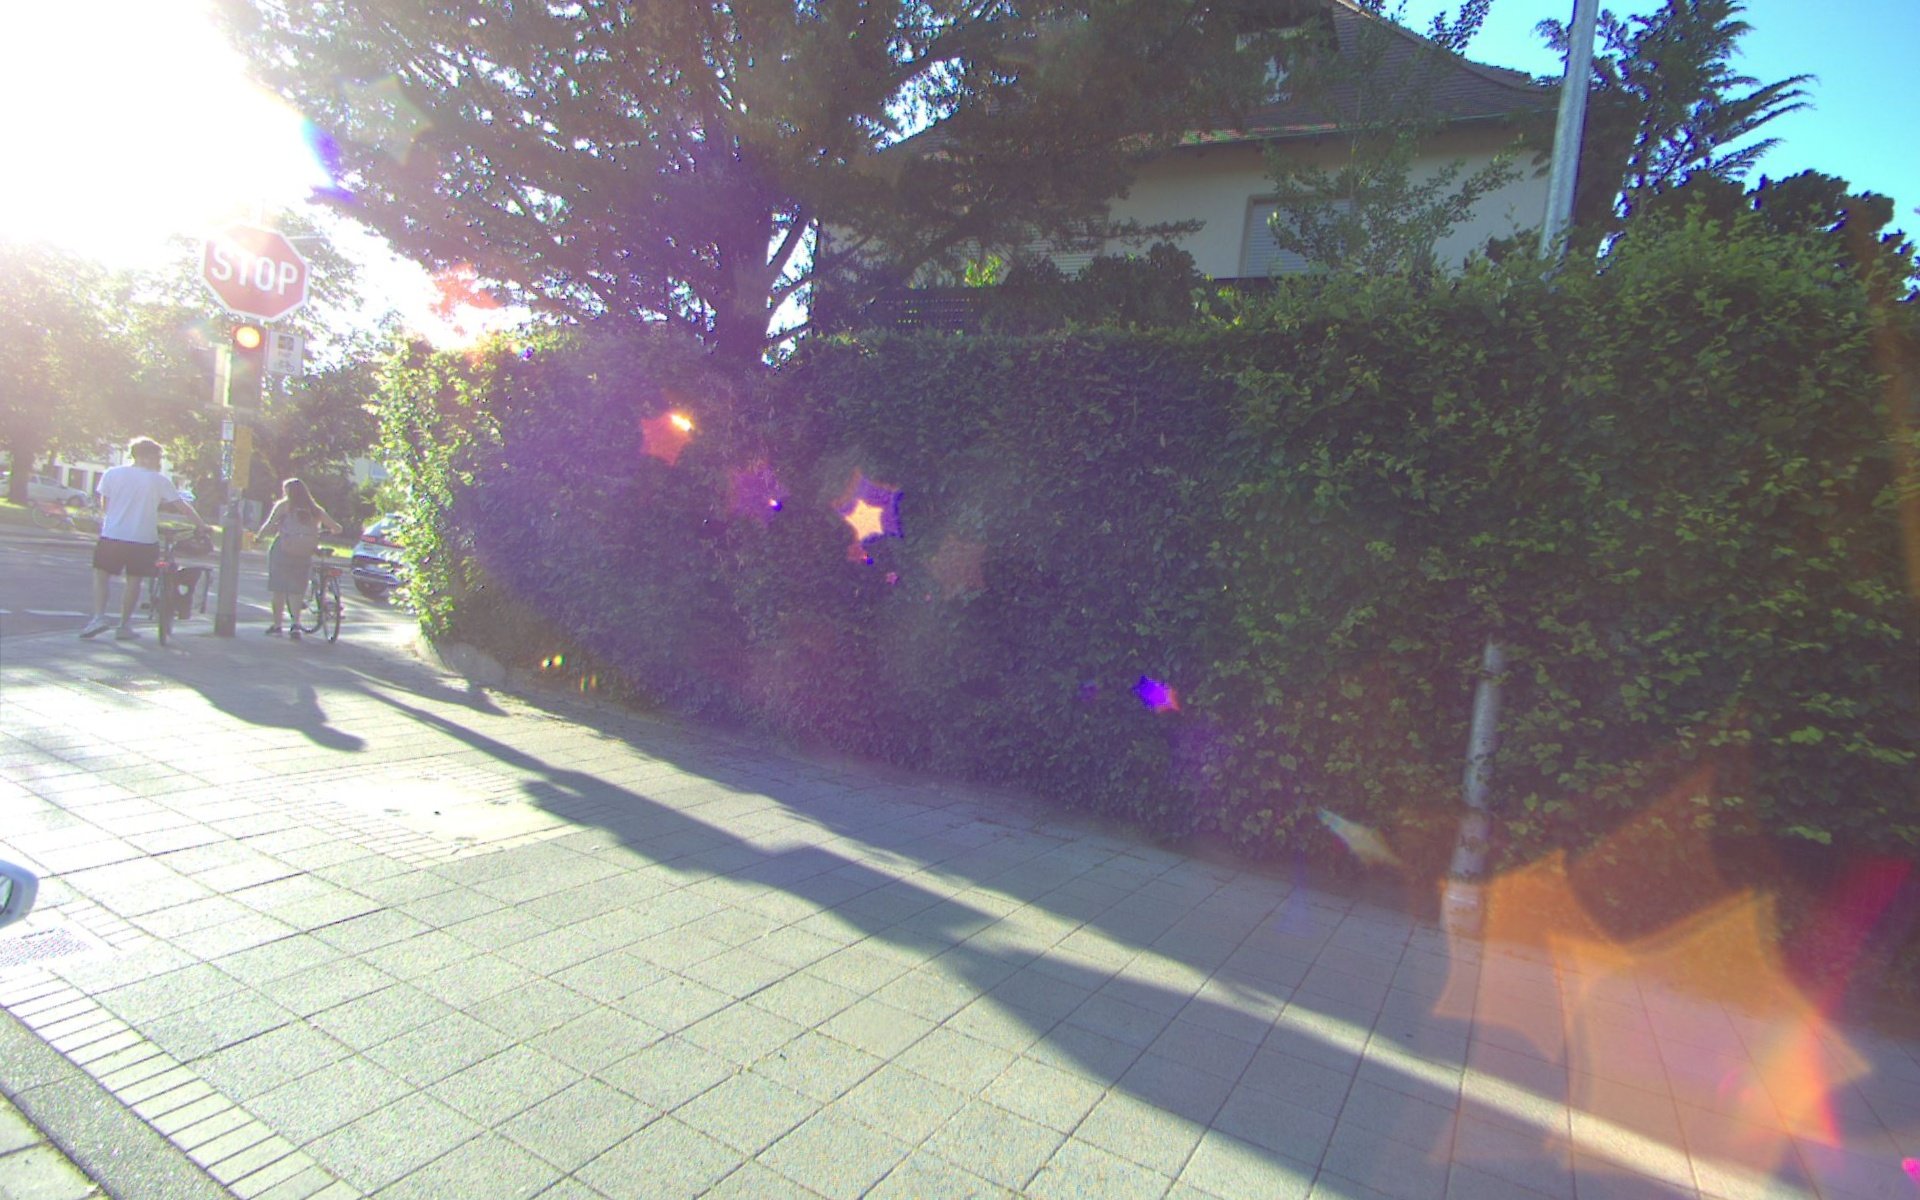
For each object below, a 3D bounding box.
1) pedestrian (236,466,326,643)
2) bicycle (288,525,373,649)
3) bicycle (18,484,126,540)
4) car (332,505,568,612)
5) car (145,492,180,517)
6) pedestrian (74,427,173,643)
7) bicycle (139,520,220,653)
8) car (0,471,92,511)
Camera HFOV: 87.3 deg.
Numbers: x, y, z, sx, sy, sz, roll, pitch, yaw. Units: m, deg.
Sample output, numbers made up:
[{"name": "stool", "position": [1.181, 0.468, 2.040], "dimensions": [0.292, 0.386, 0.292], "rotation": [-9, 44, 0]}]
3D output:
[{"name": "pedestrian", "position": [-6.985, -0.461, 10.344], "dimensions": [0.665, 1.733, 0.615], "rotation": [2, 6, -40]}, {"name": "bicycle", "position": [-6.665, -0.164, 10.619], "dimensions": [0.484, 1.158, 1.579], "rotation": [3, 4, -40]}, {"name": "bicycle", "position": [-23.209, -2.287, 26.322], "dimensions": [0.609, 1.146, 1.956], "rotation": [8, 1, 32]}, {"name": "car", "position": [-9.591, -0.715, 19.276], "dimensions": [1.582, 1.571, 3.875], "rotation": [9, 1, 20]}, {"name": "car", "position": [-55.327, -6.601, 69.837], "dimensions": [1.654, 1.435, 3.507], "rotation": [7, 0, -36]}, {"name": "pedestrian", "position": [-7.798, -0.589, 9.386], "dimensions": [0.666, 1.892, 0.871], "rotation": [-1, 5, -41]}, {"name": "bicycle", "position": [-7.434, -0.161, 9.554], "dimensions": [0.484, 1.112, 1.770], "rotation": [3, 3, -41]}, {"name": "car", "position": [-46.394, -5.502, 50.553], "dimensions": [1.569, 1.445, 3.854], "rotation": [7, 0, 26]}]
